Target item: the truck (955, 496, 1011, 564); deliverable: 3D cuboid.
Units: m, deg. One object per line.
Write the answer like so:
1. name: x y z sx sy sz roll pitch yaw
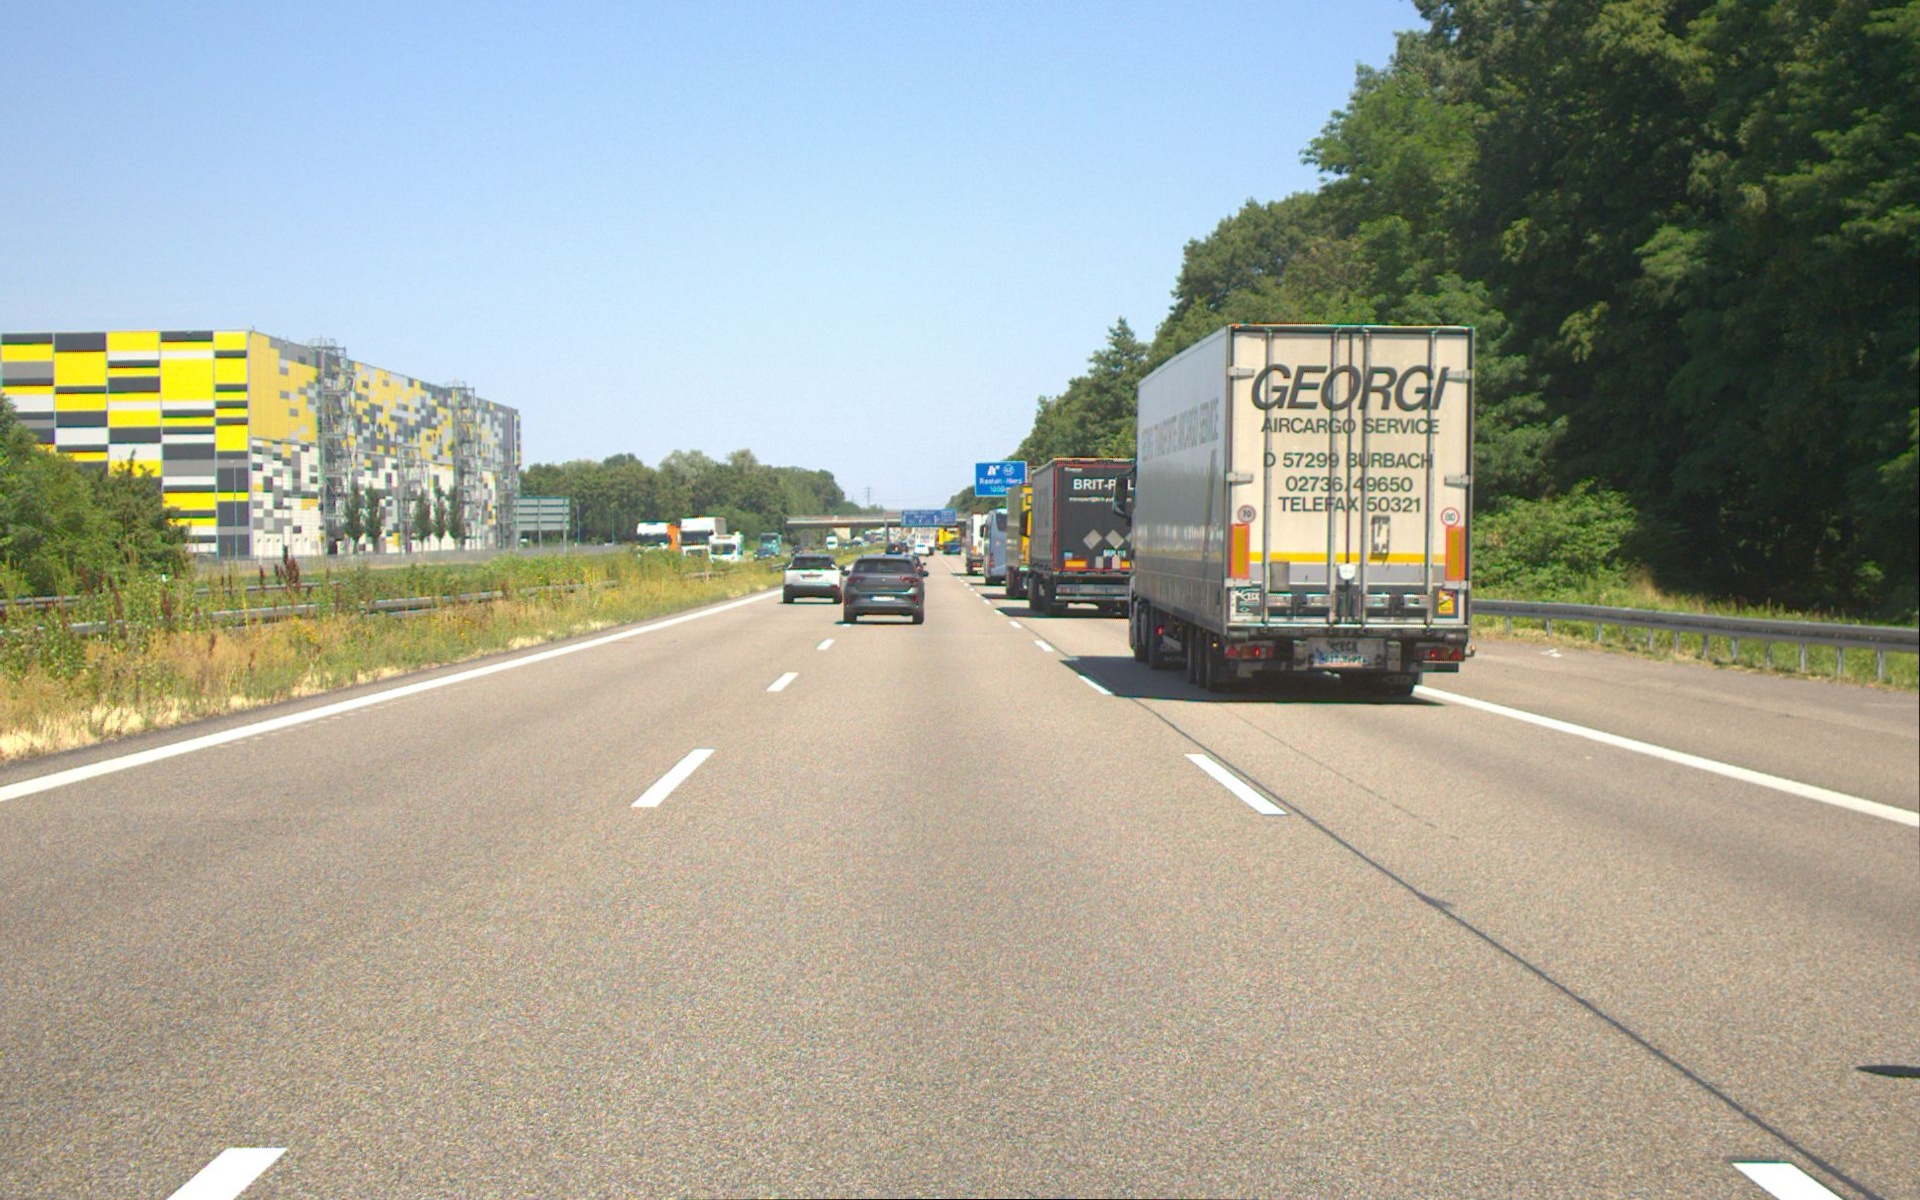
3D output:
1. truck: 1.437 -4.402 216.841 3.422 4.112 9.564 -1 1 0

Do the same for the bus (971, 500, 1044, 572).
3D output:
1. bus: 2.240 -3.064 165.394 3.062 3.315 8.275 -1 1 -2

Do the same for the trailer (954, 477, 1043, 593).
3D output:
1. trailer: 1.307 -2.336 123.315 2.834 3.940 11.685 0 1 -1

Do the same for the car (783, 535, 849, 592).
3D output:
1. car: -4.457 -1.141 106.889 1.993 1.722 4.131 0 1 -1

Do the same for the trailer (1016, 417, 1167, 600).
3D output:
1. trailer: 3.404 -2.351 92.921 3.106 4.491 14.897 1 1 -1

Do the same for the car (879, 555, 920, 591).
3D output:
1. car: -2.872 -1.290 163.378 1.941 1.700 4.000 0 1 -1

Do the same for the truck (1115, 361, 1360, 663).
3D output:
1. truck: 3.918 -1.229 49.687 3.002 4.110 5.253 1 0 -1

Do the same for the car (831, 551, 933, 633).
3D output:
1. car: -1.753 -0.214 78.000 2.216 1.784 5.393 0 1 -1

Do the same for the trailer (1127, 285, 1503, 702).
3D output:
1. trailer: 4.004 -1.188 42.347 2.993 4.274 13.419 1 1 -1
